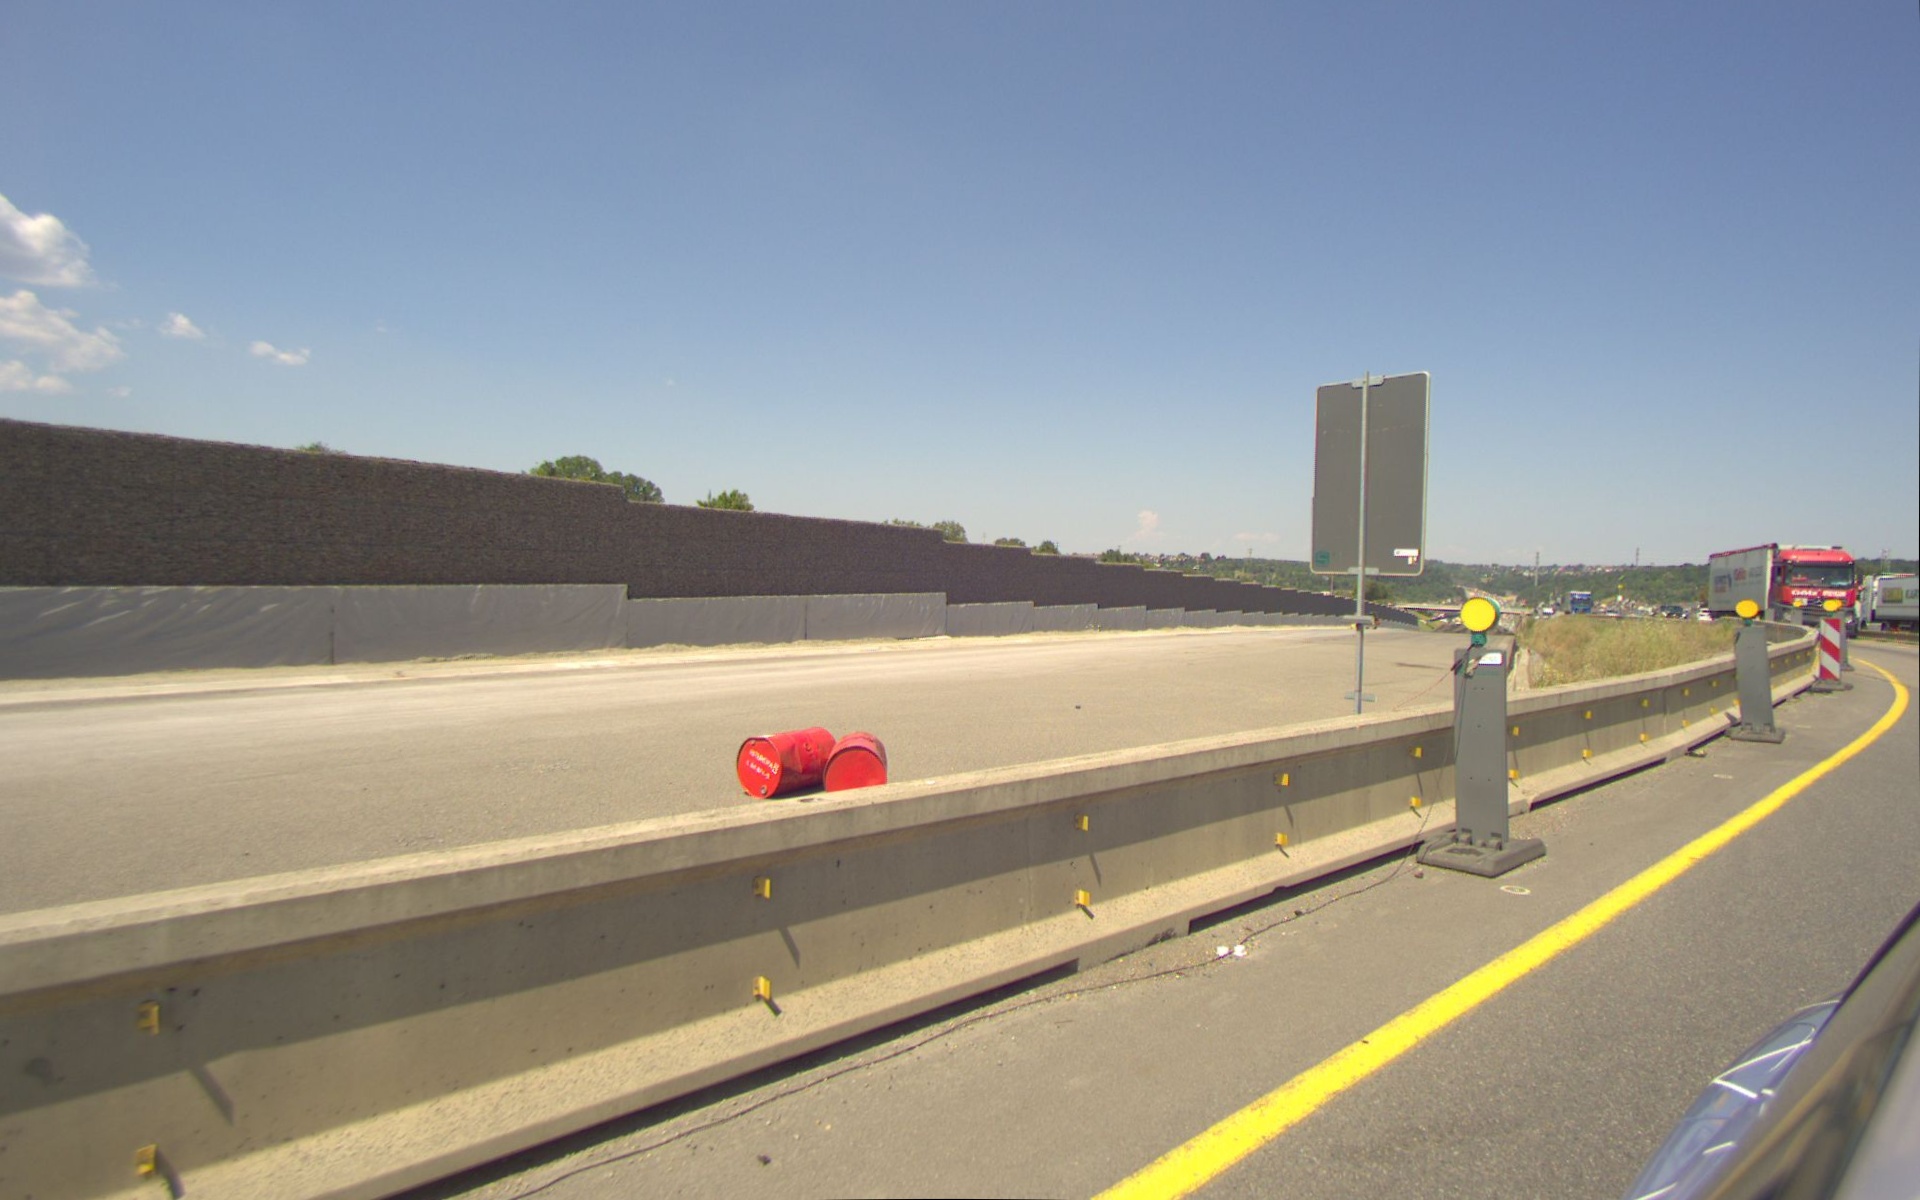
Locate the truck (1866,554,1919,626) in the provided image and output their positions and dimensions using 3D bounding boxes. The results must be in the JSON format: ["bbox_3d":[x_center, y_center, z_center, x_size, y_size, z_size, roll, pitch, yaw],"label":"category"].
[{"bbox_3d":[55.720,-0.581,59.509,2.435,4.058,5.025,2,1,29],"label":"truck"}]

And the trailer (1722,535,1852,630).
[{"bbox_3d":[39.107,-0.801,48.338,2.681,3.923,12.290,2,1,30],"label":"trailer"}]

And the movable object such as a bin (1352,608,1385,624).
[{"bbox_3d":[59.633,2.348,147.735,4.057,2.174,1.762,2,1,2],"label":"movable object such as a bin"}]

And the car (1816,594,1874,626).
[{"bbox_3d":[44.386,0.470,50.802,1.415,1.504,3.380,3,1,28],"label":"car"}]

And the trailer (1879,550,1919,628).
[{"bbox_3d":[52.838,-0.552,54.174,2.340,4.203,12.372,2,1,29],"label":"trailer"}]

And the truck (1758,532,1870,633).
[{"bbox_3d":[35.961,-0.751,42.801,2.607,3.951,4.881,2,1,30],"label":"truck"}]
